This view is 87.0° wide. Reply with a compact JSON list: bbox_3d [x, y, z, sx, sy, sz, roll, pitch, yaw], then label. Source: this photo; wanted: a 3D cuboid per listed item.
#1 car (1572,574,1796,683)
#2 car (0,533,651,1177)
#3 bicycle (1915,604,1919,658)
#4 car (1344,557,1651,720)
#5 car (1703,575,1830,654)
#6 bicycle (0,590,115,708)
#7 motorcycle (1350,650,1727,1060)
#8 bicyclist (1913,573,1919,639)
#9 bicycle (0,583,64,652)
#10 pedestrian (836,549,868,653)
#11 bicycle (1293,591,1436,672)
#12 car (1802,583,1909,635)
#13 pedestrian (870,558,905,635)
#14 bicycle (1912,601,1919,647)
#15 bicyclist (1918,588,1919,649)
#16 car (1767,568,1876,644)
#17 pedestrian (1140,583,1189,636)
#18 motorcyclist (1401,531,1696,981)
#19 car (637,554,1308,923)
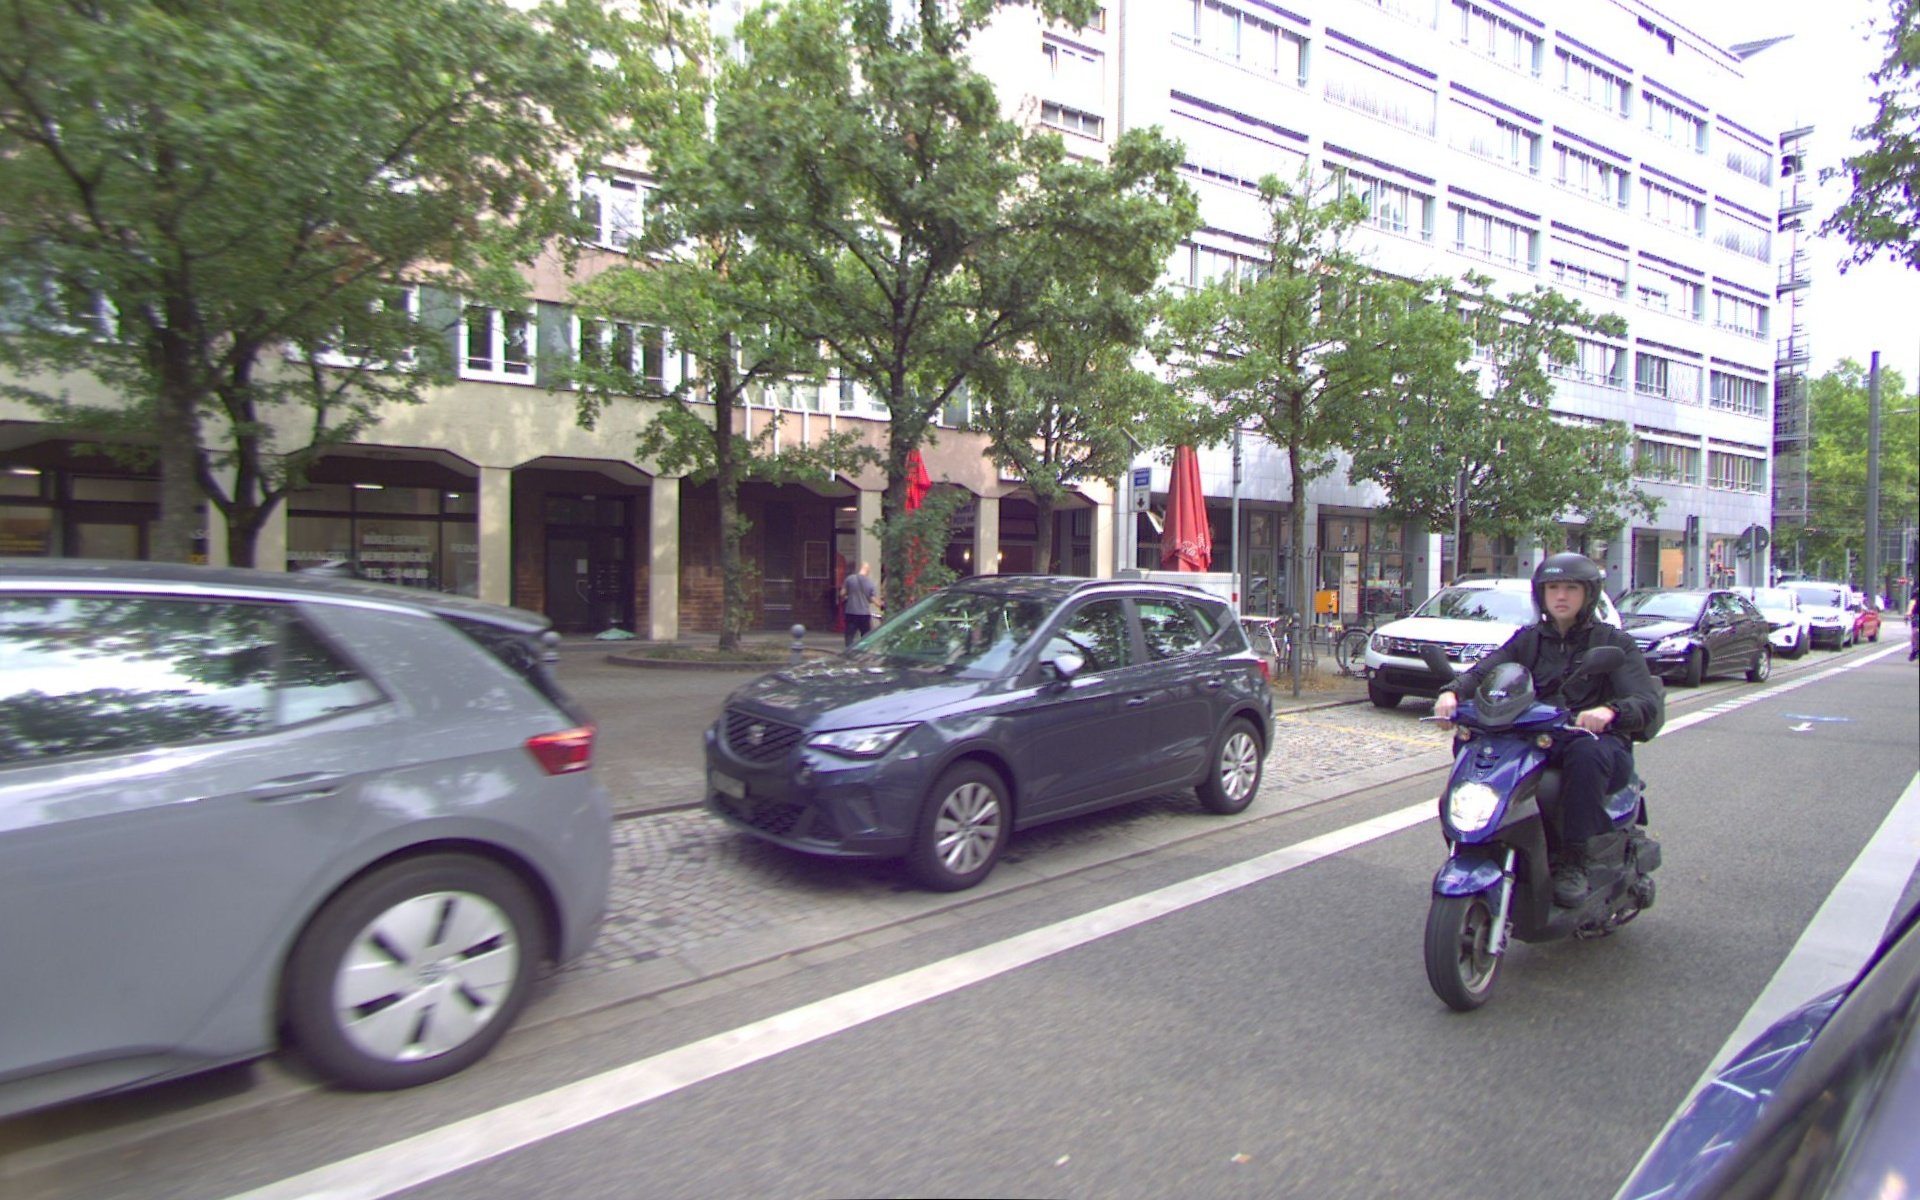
[{"bbox_3d":[12.462,0.414,17.345,4.223,1.596,1.781,0,3,-35],"label":"car"},{"bbox_3d":[-3.260,0.572,2.698,4.324,1.537,1.743,0,2,-41],"label":"car"},{"bbox_3d":[21.494,0.672,22.200,2.055,1.153,0.595,0,2,-42],"label":"bicycle"},{"bbox_3d":[6.727,0.369,12.515,4.088,1.673,1.866,0,2,-39],"label":"car"},{"bbox_3d":[19.685,0.295,24.624,1.995,1.622,4.512,5,4,43],"label":"car"},{"bbox_3d":[-8.676,0.427,8.921,1.825,1.025,0.487,0,1,-33],"label":"bicycle"},{"bbox_3d":[2.484,0.849,4.196,2.172,1.121,0.768,-1,2,-44],"label":"motorcycle"},{"bbox_3d":[25.130,0.163,26.154,1.017,1.674,0.590,0,2,-42],"label":"bicyclist"},{"bbox_3d":[-14.776,0.261,15.265,1.825,1.025,0.487,0,1,-33],"label":"bicycle"},{"bbox_3d":[-1.680,0.004,15.753,0.470,1.589,0.518,1,1,-6],"label":"pedestrian"},{"bbox_3d":[6.354,0.466,15.995,0.586,1.138,2.039,0,2,-42],"label":"bicycle"},{"bbox_3d":[28.398,0.252,32.048,4.175,1.450,1.728,0,4,-38],"label":"car"},{"bbox_3d":[-1.137,-0.058,15.804,0.447,1.191,0.518,0,1,-13],"label":"pedestrian"},{"bbox_3d":[25.161,0.621,26.196,1.704,1.153,0.595,0,2,-42],"label":"bicycle"},{"bbox_3d":[21.458,0.179,22.149,1.017,1.790,0.590,0,1,-42],"label":"bicyclist"},{"bbox_3d":[24.102,0.122,28.251,4.572,1.887,1.829,0,3,-44],"label":"car"},{"bbox_3d":[4.606,0.209,22.842,0.685,1.171,0.824,1,1,-30],"label":"pedestrian"},{"bbox_3d":[2.376,0.513,4.071,1.001,1.538,0.760,-1,2,-44],"label":"motorcyclist"},{"bbox_3d":[0.327,0.555,6.343,4.133,1.537,1.718,0,3,-43],"label":"car"}]
